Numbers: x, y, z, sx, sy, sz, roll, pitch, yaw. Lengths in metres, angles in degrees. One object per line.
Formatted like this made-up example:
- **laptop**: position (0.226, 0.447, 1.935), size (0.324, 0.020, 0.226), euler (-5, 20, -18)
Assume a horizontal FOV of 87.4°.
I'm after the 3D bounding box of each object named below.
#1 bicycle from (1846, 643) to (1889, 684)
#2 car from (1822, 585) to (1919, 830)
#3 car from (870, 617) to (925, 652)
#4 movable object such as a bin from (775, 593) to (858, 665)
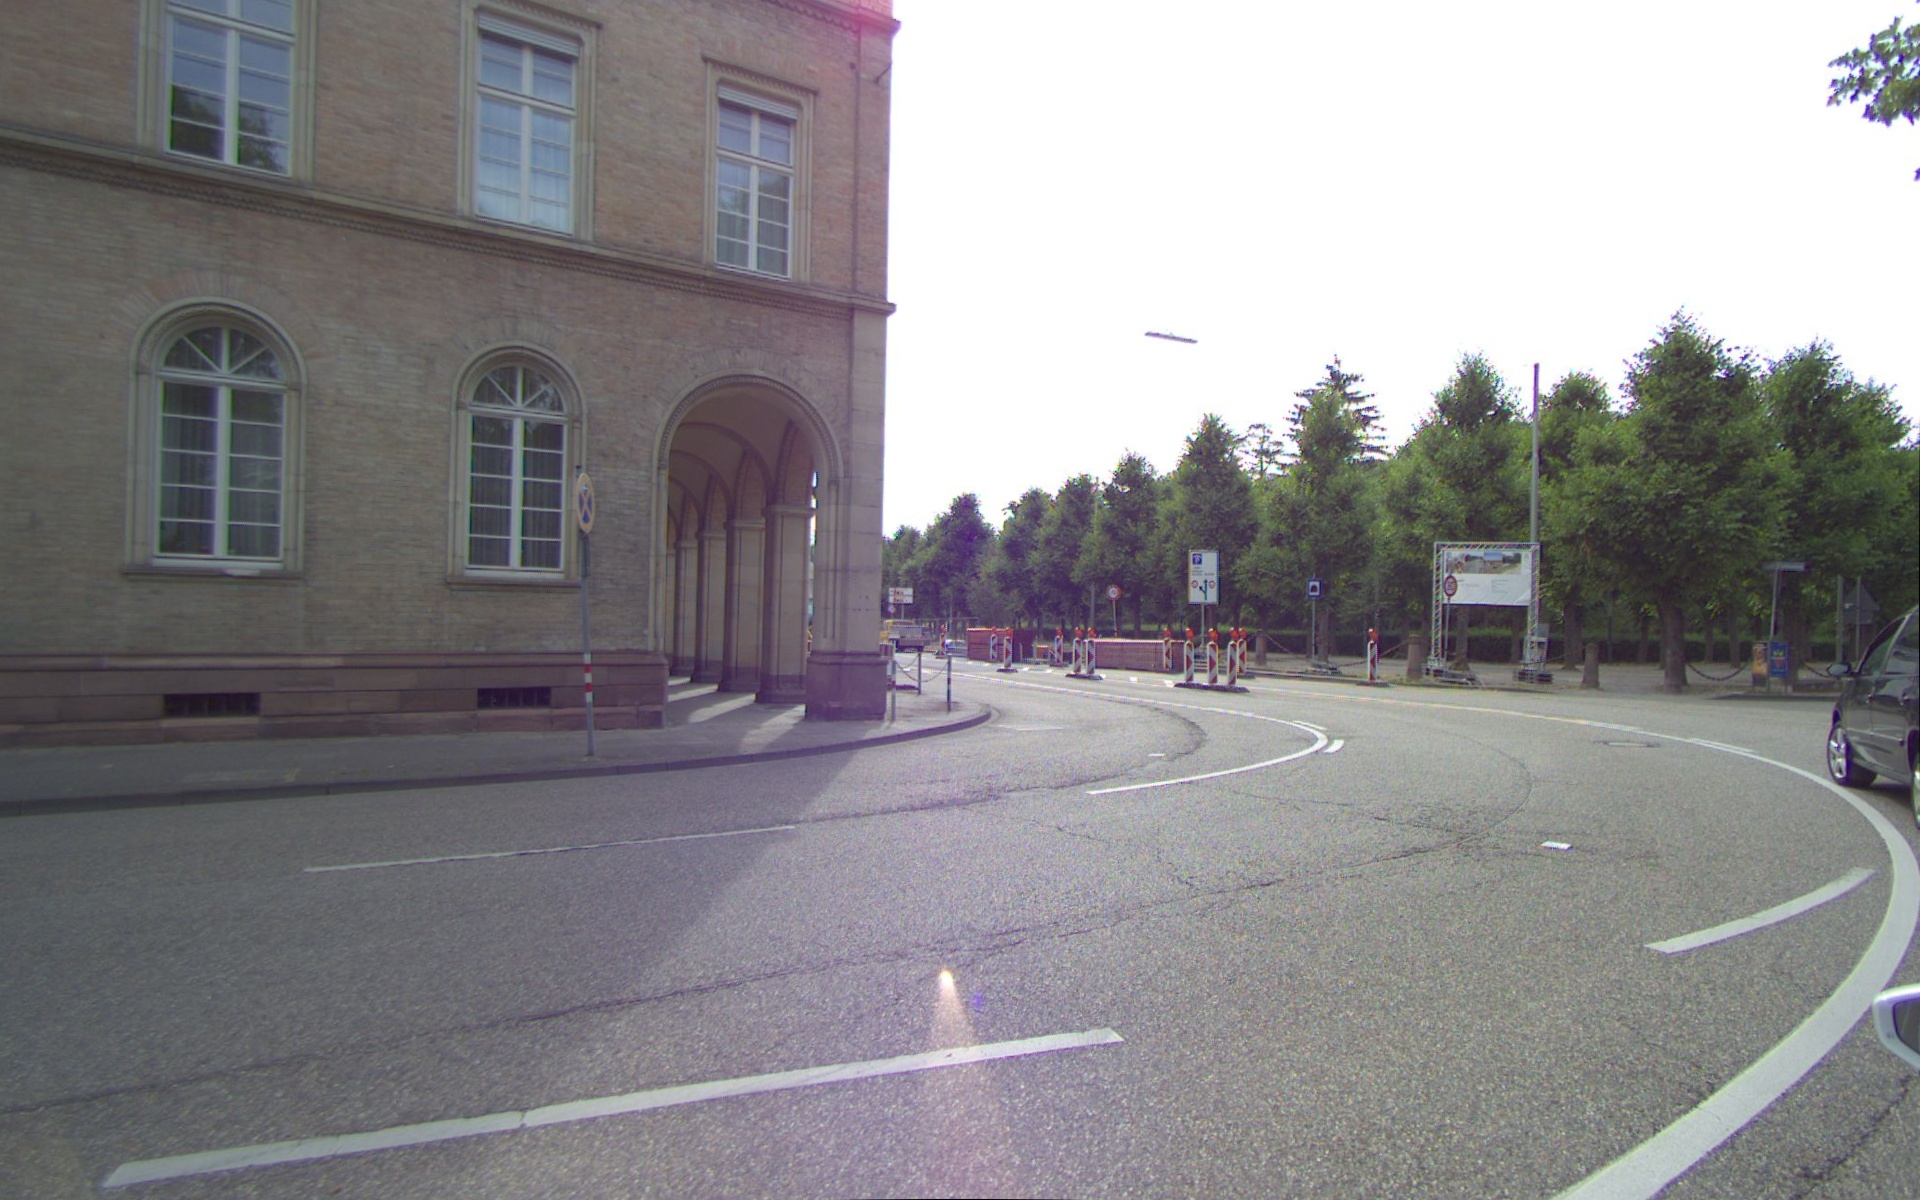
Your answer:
- **bicycle**: position (28.506, 1.973, 31.568), size (0.941, 1.125, 2.565), euler (2, 0, 42)
- **car**: position (8.347, 0.796, 7.919), size (1.768, 1.731, 4.121), euler (0, -2, 32)
- **car**: position (-4.004, 2.163, 63.541), size (1.973, 2.040, 4.317), euler (1, 0, -25)
- **movable object such as a bin**: position (-5.910, 1.204, 40.975), size (2.094, 2.754, 4.591), euler (1, -2, -25)
